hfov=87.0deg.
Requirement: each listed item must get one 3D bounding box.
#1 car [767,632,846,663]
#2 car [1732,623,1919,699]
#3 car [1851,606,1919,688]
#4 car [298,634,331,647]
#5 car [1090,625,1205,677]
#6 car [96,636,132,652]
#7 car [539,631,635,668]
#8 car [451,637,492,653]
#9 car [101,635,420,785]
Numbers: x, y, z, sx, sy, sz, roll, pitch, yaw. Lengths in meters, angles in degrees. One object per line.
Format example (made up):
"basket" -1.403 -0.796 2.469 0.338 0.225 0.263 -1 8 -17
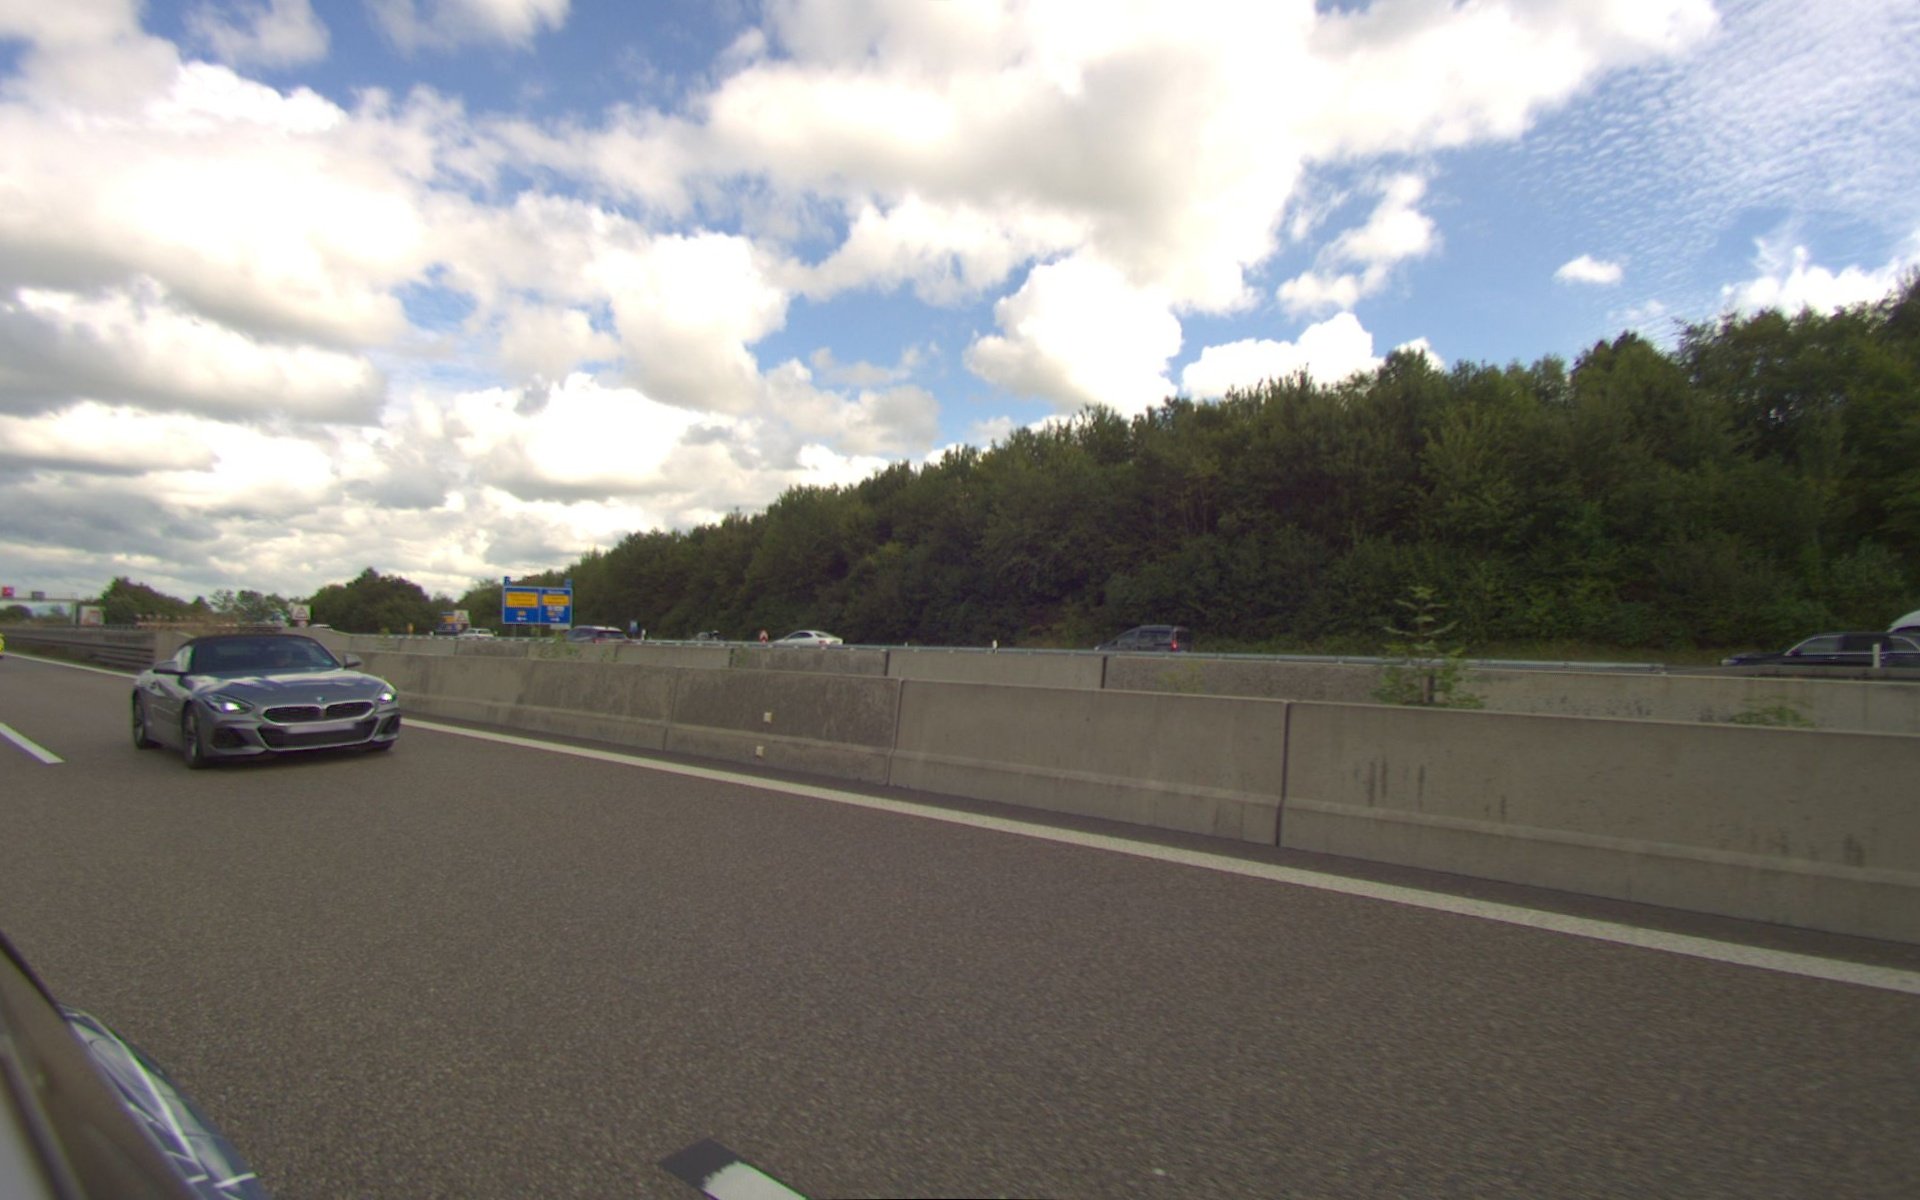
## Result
"car" -7.887 2.415 51.780 4.368 1.529 1.658 -2 -3 43
"car" 21.722 1.447 24.715 4.424 1.742 1.832 -1 -3 41
"car" 28.853 1.324 28.412 5.684 2.333 1.971 -2 -3 43
"car" -64.690 4.053 101.426 4.245 1.325 1.625 -2 -3 41
"car" 7.817 2.100 42.422 4.342 2.029 1.973 -1 -1 41
"car" -71.345 3.707 85.294 4.245 1.325 1.625 -2 -4 41
"car" -14.349 1.874 38.862 4.245 1.325 1.625 -2 -3 41
"car" -41.514 3.821 85.965 4.245 1.325 1.625 -2 -3 41
"car" -8.130 1.081 11.558 4.940 1.312 1.853 -1 -2 41
